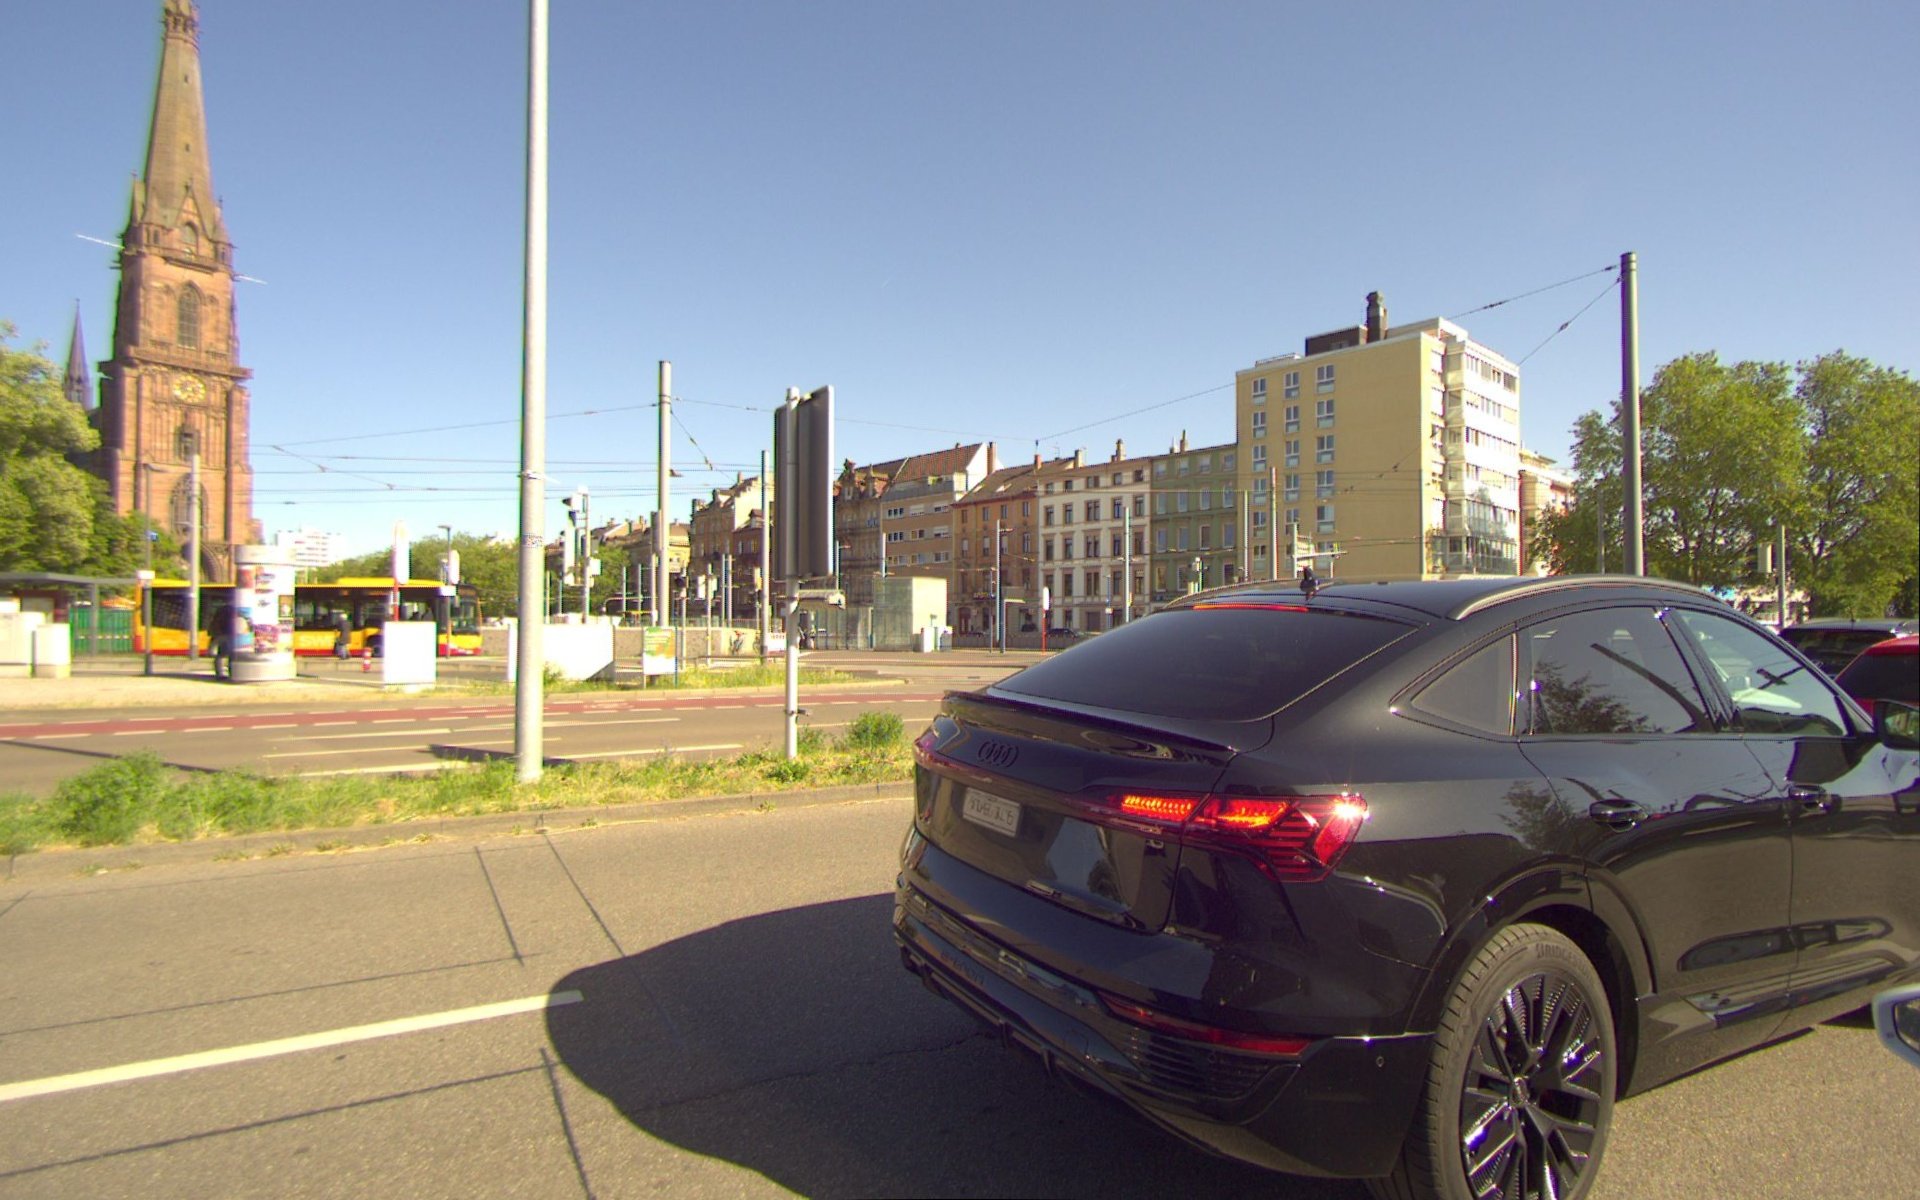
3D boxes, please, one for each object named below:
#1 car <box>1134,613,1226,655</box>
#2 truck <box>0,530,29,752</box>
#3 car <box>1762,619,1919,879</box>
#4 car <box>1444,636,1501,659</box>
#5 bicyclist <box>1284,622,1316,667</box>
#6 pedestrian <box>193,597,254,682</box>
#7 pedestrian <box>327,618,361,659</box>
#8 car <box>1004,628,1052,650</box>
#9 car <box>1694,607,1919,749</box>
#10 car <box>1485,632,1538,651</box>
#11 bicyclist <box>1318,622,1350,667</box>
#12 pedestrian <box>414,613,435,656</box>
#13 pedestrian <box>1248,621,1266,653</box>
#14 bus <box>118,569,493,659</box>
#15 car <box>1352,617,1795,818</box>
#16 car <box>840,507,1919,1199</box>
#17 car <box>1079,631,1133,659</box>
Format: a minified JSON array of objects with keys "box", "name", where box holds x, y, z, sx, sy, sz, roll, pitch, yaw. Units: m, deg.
[{"box":[13.503,2.071,61.893,1.986,2.443,5.435,2,-2,-43],"name":"car"},{"box":[-12.976,0.363,8.736,6.813,2.344,2.200,2,-2,-34],"name":"truck"},{"box":[7.163,0.897,6.481,3.672,1.462,1.666,1,1,-26],"name":"car"},{"box":[37.341,3.439,73.173,3.397,1.530,1.682,-1,-2,45],"name":"car"},{"box":[11.228,1.467,33.202,0.635,1.463,0.771,1,-1,-27],"name":"bicyclist"},{"box":[-15.764,0.830,21.509,0.634,1.765,0.790,2,0,14],"name":"pedestrian"},{"box":[-21.392,1.331,34.897,0.784,1.412,0.640,0,-1,17],"name":"pedestrian"},{"box":[6.004,3.390,88.433,1.985,1.795,3.952,-1,0,-41],"name":"car"},{"box":[11.023,0.870,12.121,3.853,1.462,1.721,1,0,-22],"name":"car"},{"box":[41.445,3.096,75.476,3.228,1.334,1.516,-1,0,44],"name":"car"},{"box":[12.475,1.481,33.491,0.635,1.463,0.771,1,-1,-28],"name":"bicyclist"},{"box":[-19.512,1.251,36.599,0.632,1.555,0.956,1,-1,-29],"name":"pedestrian"},{"box":[13.808,1.711,46.711,0.564,1.427,0.588,-2,1,-42],"name":"pedestrian"},{"box":[-24.567,0.552,38.094,12.338,3.258,2.975,0,-1,2],"name":"bus"},{"box":[5.525,0.907,9.005,3.750,1.461,1.719,1,-1,-27],"name":"car"},{"box":[1.947,0.704,3.693,4.326,1.645,1.974,1,0,-30],"name":"car"},{"box":[11.868,3.633,81.846,1.985,2.040,3.951,-1,0,-42],"name":"car"}]
